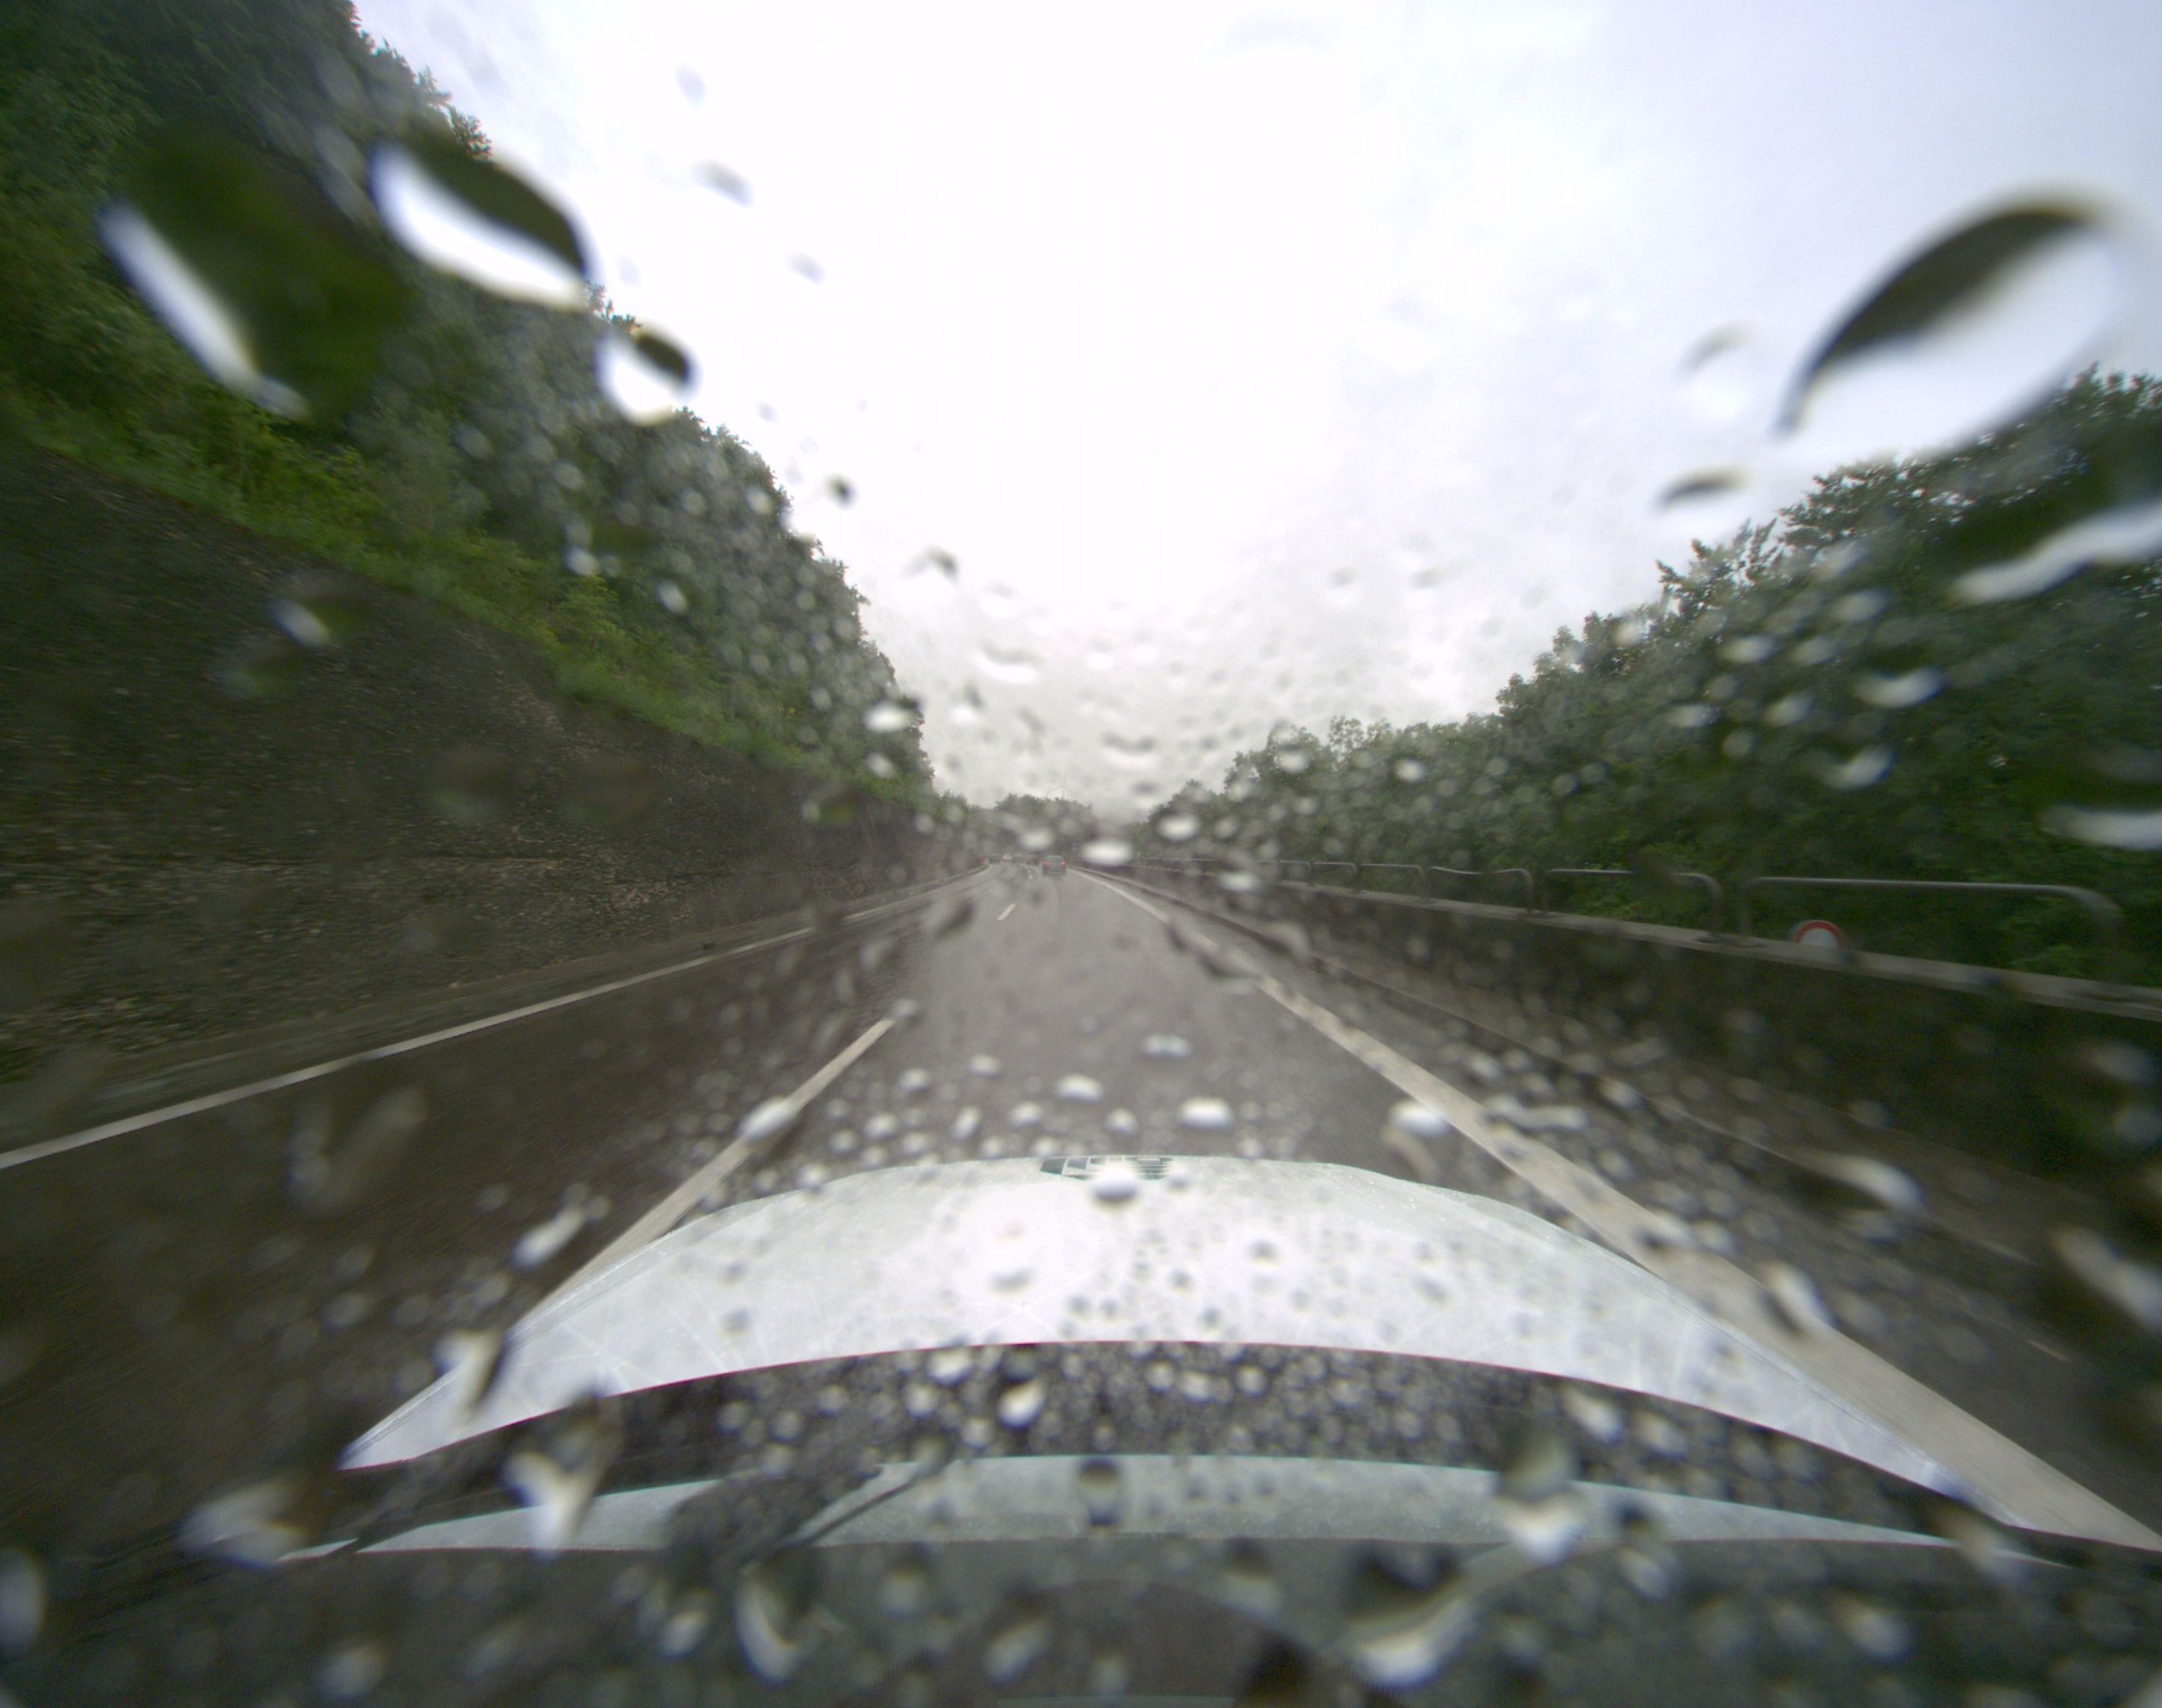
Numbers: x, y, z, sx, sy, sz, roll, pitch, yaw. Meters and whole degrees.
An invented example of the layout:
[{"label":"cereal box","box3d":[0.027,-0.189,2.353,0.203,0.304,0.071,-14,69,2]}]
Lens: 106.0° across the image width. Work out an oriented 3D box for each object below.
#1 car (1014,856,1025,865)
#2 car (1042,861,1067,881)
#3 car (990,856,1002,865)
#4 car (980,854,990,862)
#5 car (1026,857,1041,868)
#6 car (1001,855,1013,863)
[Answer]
[{"label":"car","box3d":[-10.950,1.094,144.424,1.900,1.499,3.993,-1,0,-5]},{"label":"car","box3d":[-2.128,1.313,64.980,1.900,1.499,3.995,-1,0,-3]},{"label":"car","box3d":[-14.878,1.142,142.482,1.900,1.499,3.993,-1,0,-5]},{"label":"car","box3d":[-20.242,0.827,171.688,1.902,1.499,3.990,-1,0,-7]},{"label":"car","box3d":[-6.839,1.145,116.711,1.902,1.499,3.991,-1,0,-7]},{"label":"car","box3d":[-14.749,1.066,162.211,1.904,1.499,3.985,-1,0,-10]}]
